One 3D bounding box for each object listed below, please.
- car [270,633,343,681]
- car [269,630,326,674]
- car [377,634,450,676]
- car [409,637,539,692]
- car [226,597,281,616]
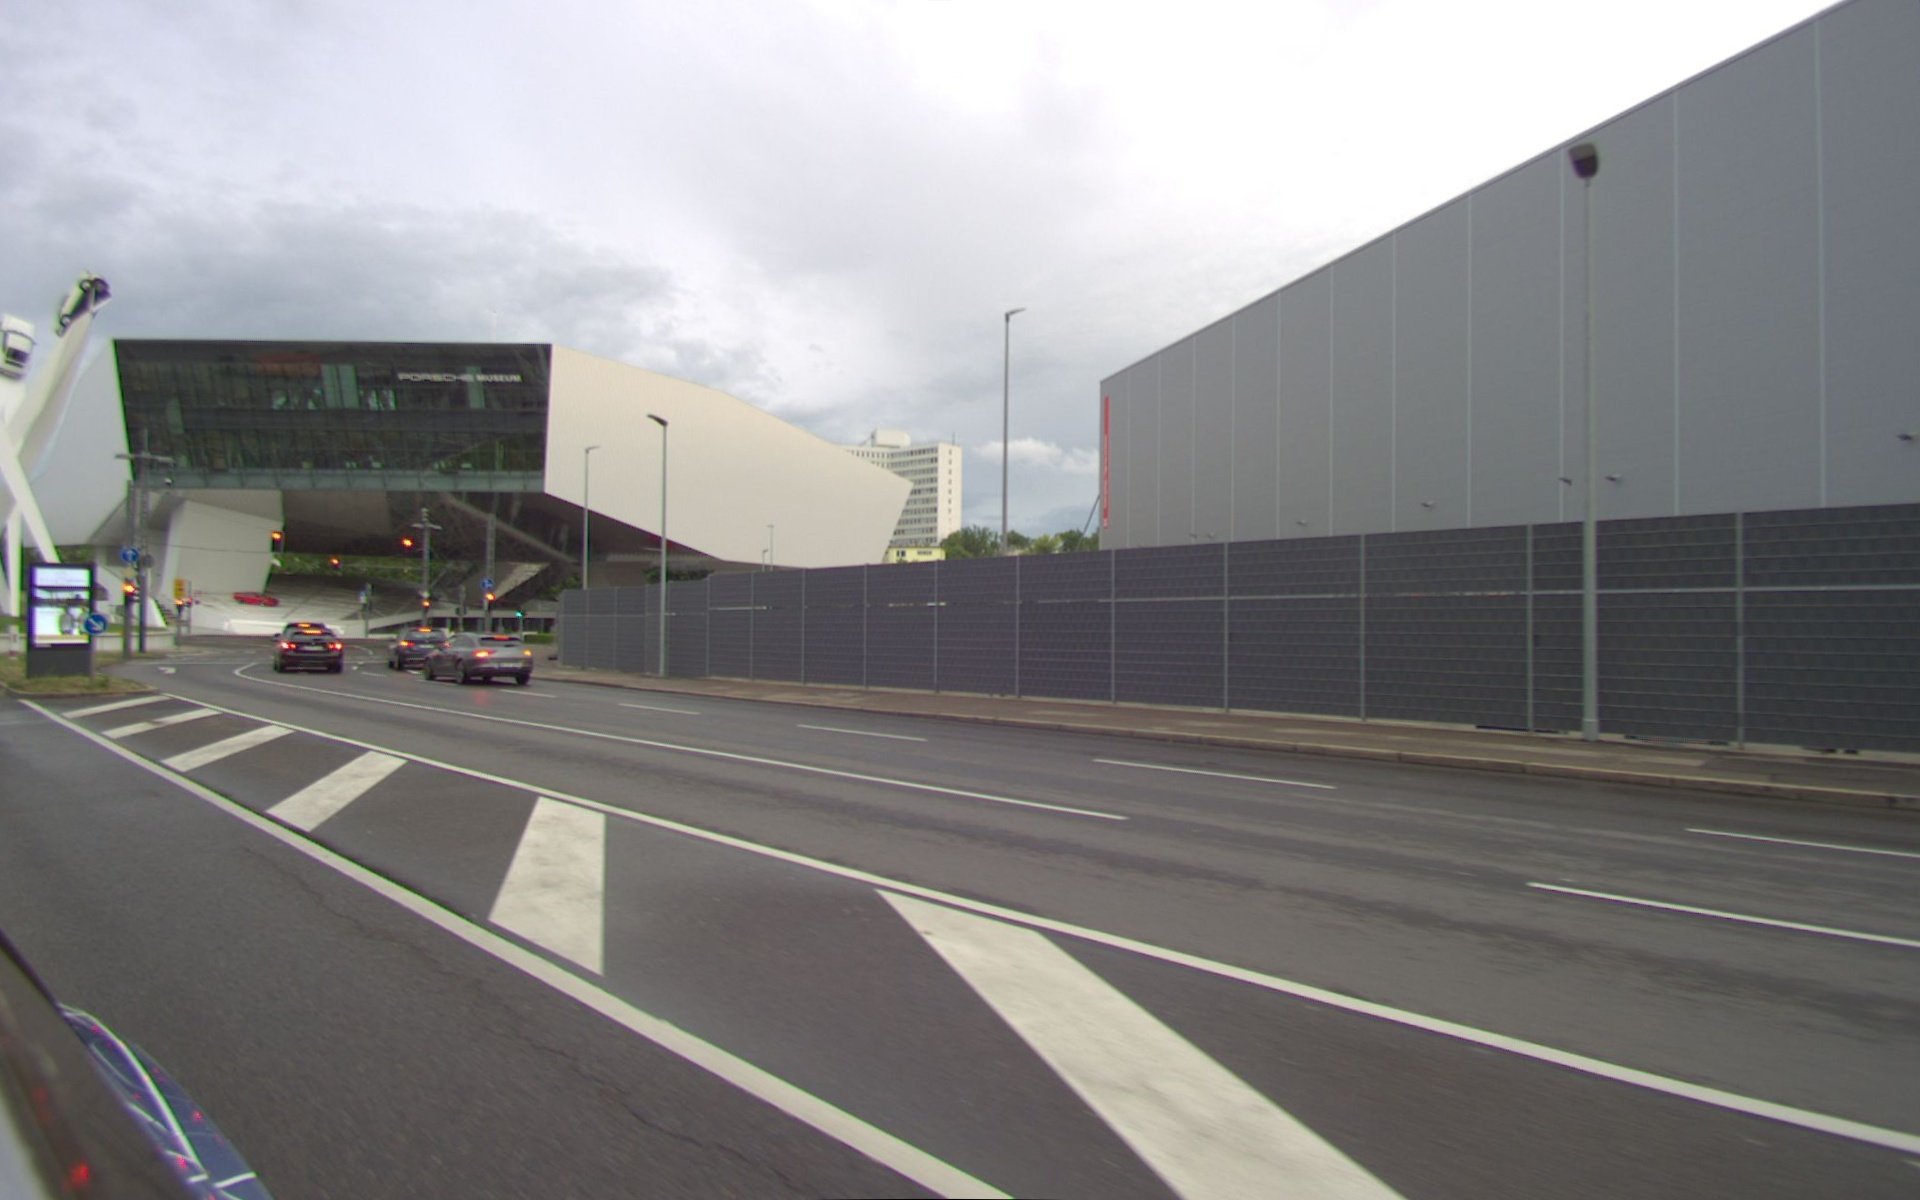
[{"bbox_3d":[-21.910,1.853,33.859,1.759,1.451,4.405,1,-2,-36],"label":"car"},{"bbox_3d":[-25.785,1.992,39.456,1.758,1.600,4.579,1,-2,-32],"label":"car"},{"bbox_3d":[-20.371,2.025,37.634,1.759,1.465,4.571,3,-3,-36],"label":"car"},{"bbox_3d":[-13.741,1.784,28.503,4.546,1.396,1.763,-2,-4,44],"label":"car"},{"bbox_3d":[-73.262,0.658,105.033,4.187,1.394,2.001,8,-1,-1],"label":"car"}]
